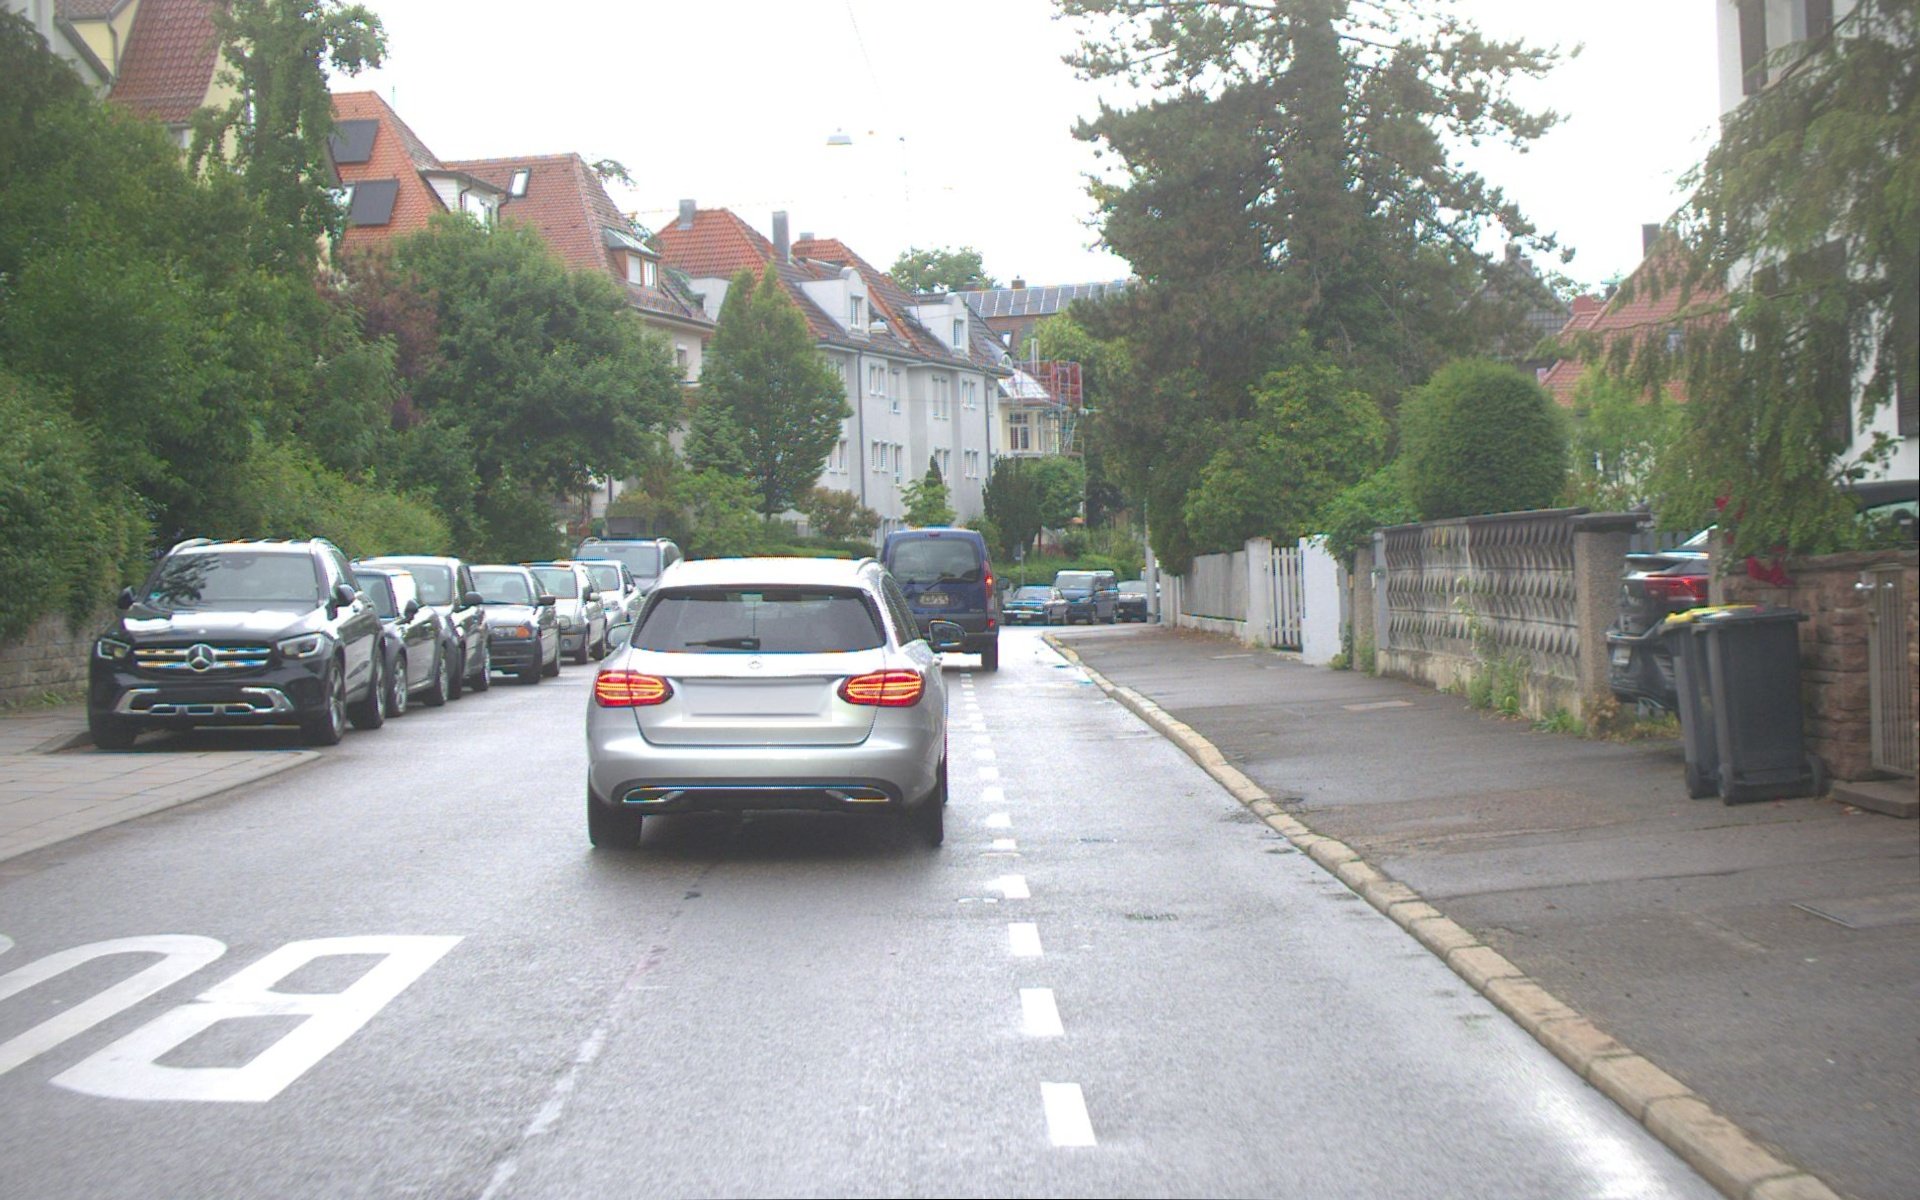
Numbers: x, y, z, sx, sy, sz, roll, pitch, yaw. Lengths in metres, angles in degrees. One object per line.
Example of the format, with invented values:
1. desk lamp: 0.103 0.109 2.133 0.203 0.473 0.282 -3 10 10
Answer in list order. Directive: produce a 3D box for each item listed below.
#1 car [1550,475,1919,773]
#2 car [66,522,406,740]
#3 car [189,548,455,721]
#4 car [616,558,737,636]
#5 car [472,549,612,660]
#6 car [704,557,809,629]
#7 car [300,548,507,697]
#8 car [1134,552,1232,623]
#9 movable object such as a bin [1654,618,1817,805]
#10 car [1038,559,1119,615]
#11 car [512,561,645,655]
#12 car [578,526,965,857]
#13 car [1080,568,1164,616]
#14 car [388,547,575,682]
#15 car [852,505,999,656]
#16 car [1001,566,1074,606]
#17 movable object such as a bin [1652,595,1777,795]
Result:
1. car: 5.628 0.094 20.170 3.987 1.634 1.919 -1 2 0
2. car: -5.764 0.192 27.897 1.893 1.617 4.379 0 1 -1
3. car: -6.070 0.286 33.103 1.893 1.442 3.814 -1 2 -1
4. car: -6.095 -0.091 74.430 1.994 1.575 4.761 2 1 2
5. car: -6.072 0.033 50.245 1.646 1.442 3.628 -1 2 -1
6. car: -5.076 -0.210 86.330 1.994 1.696 4.738 2 1 4
7. car: -6.037 0.203 37.647 1.696 1.536 3.814 0 1 -1
8. car: 9.361 -0.576 143.718 2.393 2.762 6.525 0 2 20
9. movable object such as a bin: 3.717 0.527 16.499 0.651 0.852 0.503 -1 2 -2
10. car: 4.510 -0.489 130.369 1.831 2.049 5.005 0 0 17
11. car: -6.145 0.109 55.704 1.694 1.442 3.814 -1 1 0
12. car: -0.983 0.400 18.141 1.816 1.551 4.001 0 1 -3
13. car: 6.475 -0.326 136.573 1.995 1.682 4.672 0 3 20
14. car: -5.846 0.138 42.444 1.756 1.442 4.417 -1 2 -1
15. car: -0.411 -0.246 45.263 1.843 1.897 4.000 0 0 1
16. car: 2.837 -0.510 124.961 1.644 1.412 4.610 0 1 14
17. movable object such as a bin: 3.736 0.463 17.038 0.494 0.952 0.503 -1 2 -2
